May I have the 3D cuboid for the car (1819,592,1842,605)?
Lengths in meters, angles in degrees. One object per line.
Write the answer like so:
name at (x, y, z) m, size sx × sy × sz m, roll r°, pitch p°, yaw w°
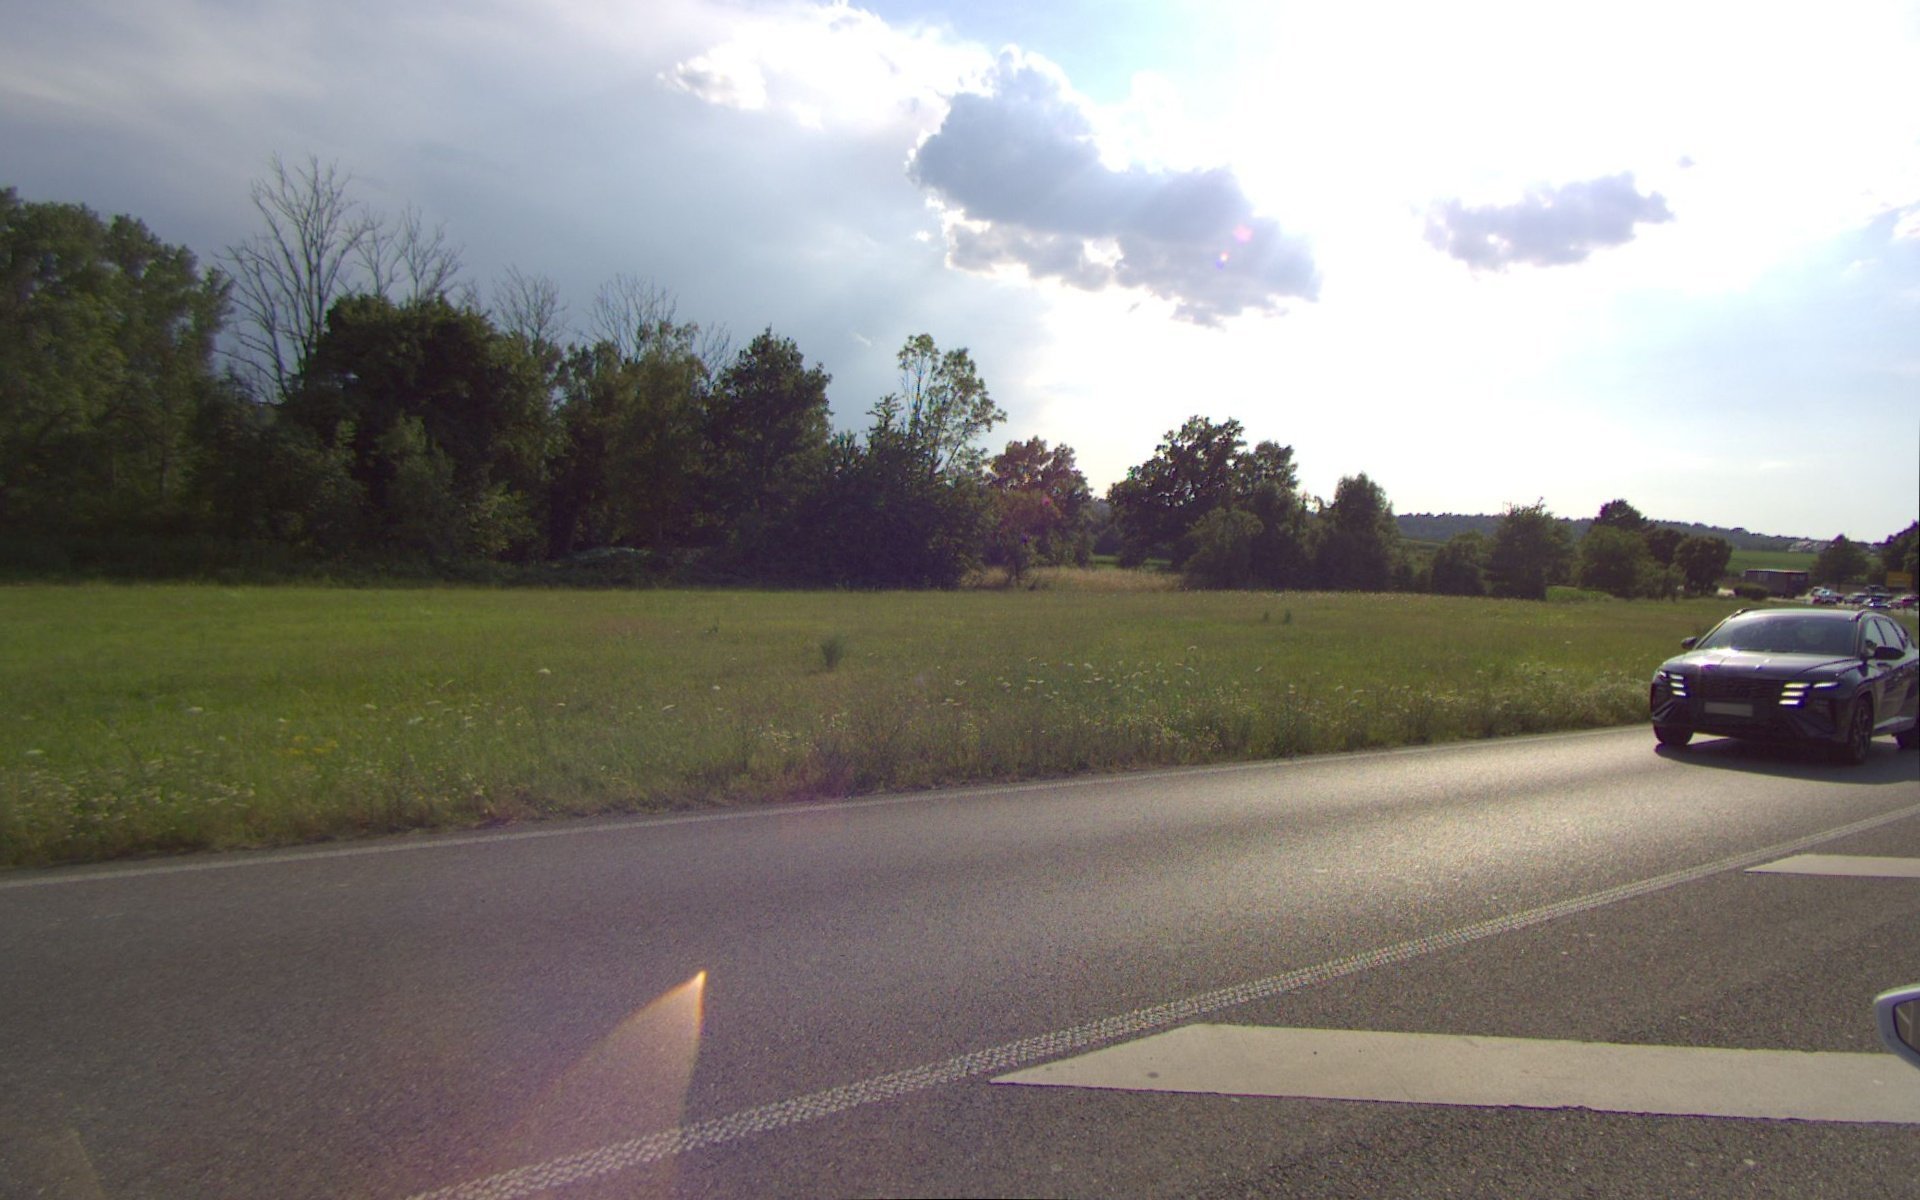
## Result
car at (109.121, -0.197, 125.979) m, size 1.858 × 1.621 × 3.984 m, roll 3°, pitch 2°, yaw 37°

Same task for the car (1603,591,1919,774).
car at (9.768, 0.823, 11.939) m, size 4.380 × 1.748 × 1.981 m, roll 0°, pitch 2°, yaw -34°

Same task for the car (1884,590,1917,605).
car at (113.344, -0.314, 121.117) m, size 1.853 × 1.621 × 3.994 m, roll 3°, pitch 2°, yaw 28°

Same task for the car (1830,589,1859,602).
car at (118.922, -0.604, 135.057) m, size 1.852 × 1.621 × 3.995 m, roll 3°, pitch 2°, yaw 26°

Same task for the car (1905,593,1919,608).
car at (109.971, 0.097, 114.659) m, size 2.054 × 1.621 × 3.993 m, roll 3°, pitch 2°, yaw 29°

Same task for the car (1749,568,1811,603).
car at (128.661, -2.303, 157.837) m, size 3.483 × 5.127 × 13.237 m, roll 3°, pitch 2°, yaw 22°

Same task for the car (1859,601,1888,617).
car at (98.617, 0.990, 108.429) m, size 1.858 × 1.621 × 3.984 m, roll 3°, pitch 2°, yaw 37°

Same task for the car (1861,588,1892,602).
car at (115.979, -0.663, 127.140) m, size 1.853 × 1.621 × 3.995 m, roll 3°, pitch 2°, yaw 27°

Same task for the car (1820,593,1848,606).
car at (122.259, -0.091, 140.578) m, size 1.852 × 1.621 × 3.996 m, roll 3°, pitch 2°, yaw 26°
